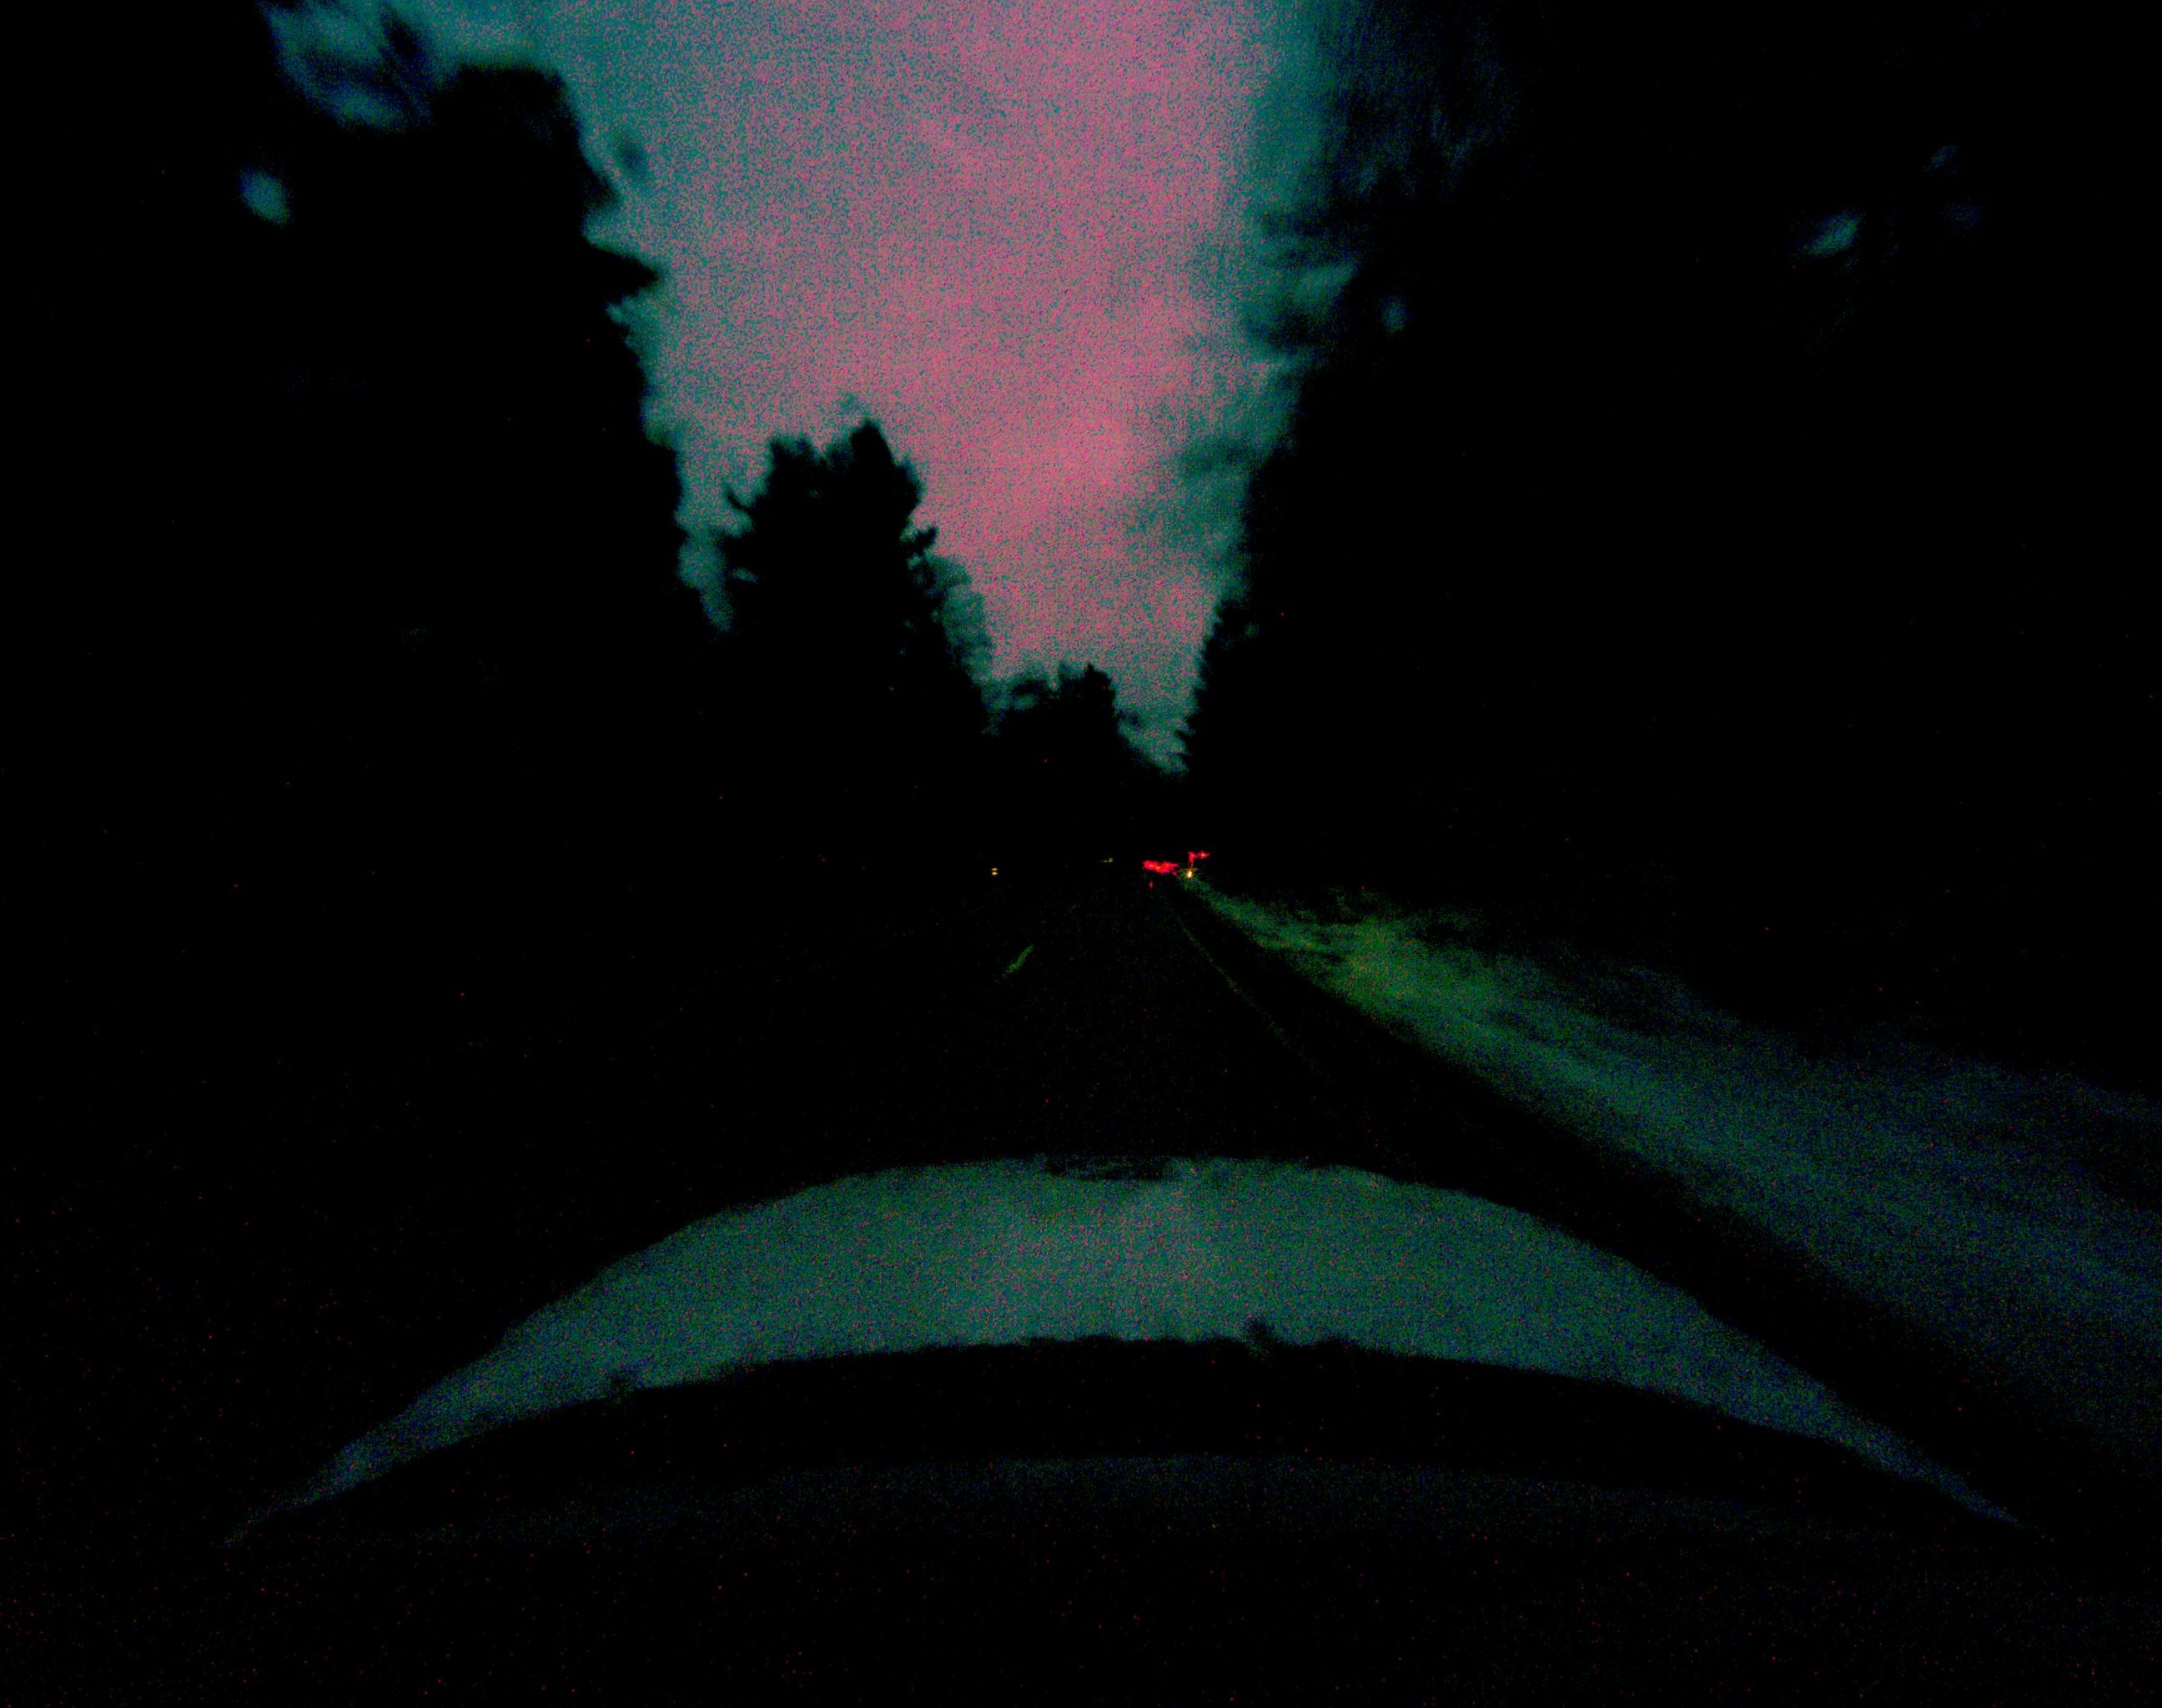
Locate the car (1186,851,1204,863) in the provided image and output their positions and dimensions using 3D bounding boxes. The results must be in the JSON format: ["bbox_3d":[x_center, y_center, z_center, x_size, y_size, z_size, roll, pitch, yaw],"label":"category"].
[{"bbox_3d":[14.060,0.340,100.178,1.981,1.310,4.011,-3,0,10],"label":"car"}]

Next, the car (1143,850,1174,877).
[{"bbox_3d":[6.178,0.731,64.460,1.981,1.872,4.013,-3,0,11],"label":"car"}]
